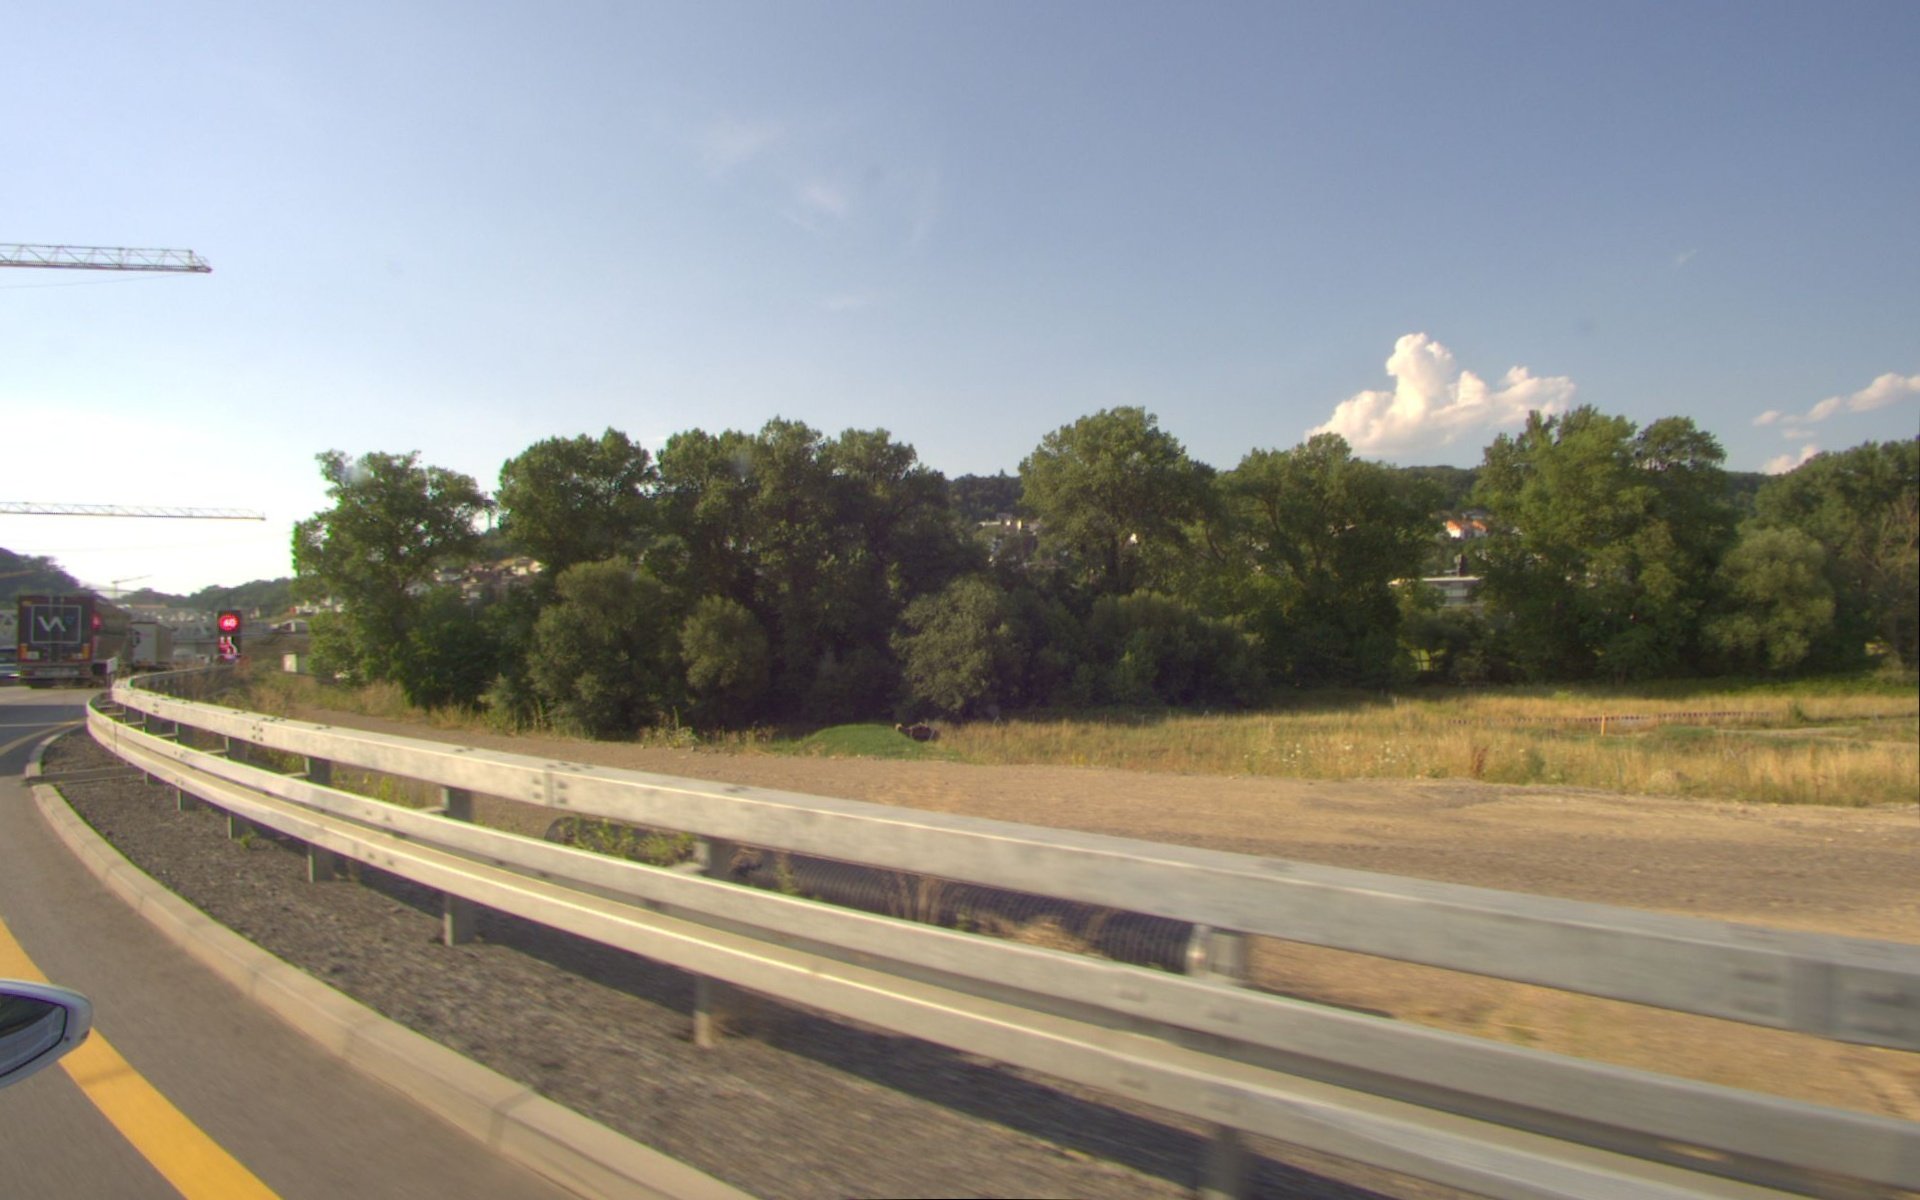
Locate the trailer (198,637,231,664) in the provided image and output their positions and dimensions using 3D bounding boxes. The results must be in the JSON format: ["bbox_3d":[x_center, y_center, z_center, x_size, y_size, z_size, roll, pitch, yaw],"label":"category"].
[{"bbox_3d":[-130.972,8.890,176.059,4.057,4.368,14.165,0,-3,-34],"label":"trailer"}]

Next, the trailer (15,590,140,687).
[{"bbox_3d":[-42.215,1.882,48.263,2.929,4.143,10.731,-1,-2,-33],"label":"trailer"}]

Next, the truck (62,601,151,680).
[{"bbox_3d":[-46.349,2.221,54.552,2.856,4.047,6.587,0,-2,-33],"label":"truck"}]

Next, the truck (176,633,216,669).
[{"bbox_3d":[-89.613,6.006,117.541,3.357,4.047,6.584,0,-2,-35],"label":"truck"}]

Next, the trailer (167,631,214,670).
[{"bbox_3d":[-85.628,5.667,111.699,3.352,4.046,14.655,0,-3,-34],"label":"trailer"}]

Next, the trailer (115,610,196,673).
[{"bbox_3d":[-57.196,3.032,71.550,3.352,4.046,14.655,0,-3,-34],"label":"trailer"}]

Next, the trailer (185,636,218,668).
[{"bbox_3d":[-107.497,7.380,142.082,3.073,4.368,14.165,0,-3,-34],"label":"trailer"}]

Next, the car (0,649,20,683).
[{"bbox_3d":[-49.480,3.387,51.029,1.813,1.675,3.973,-1,-2,-37],"label":"car"}]
